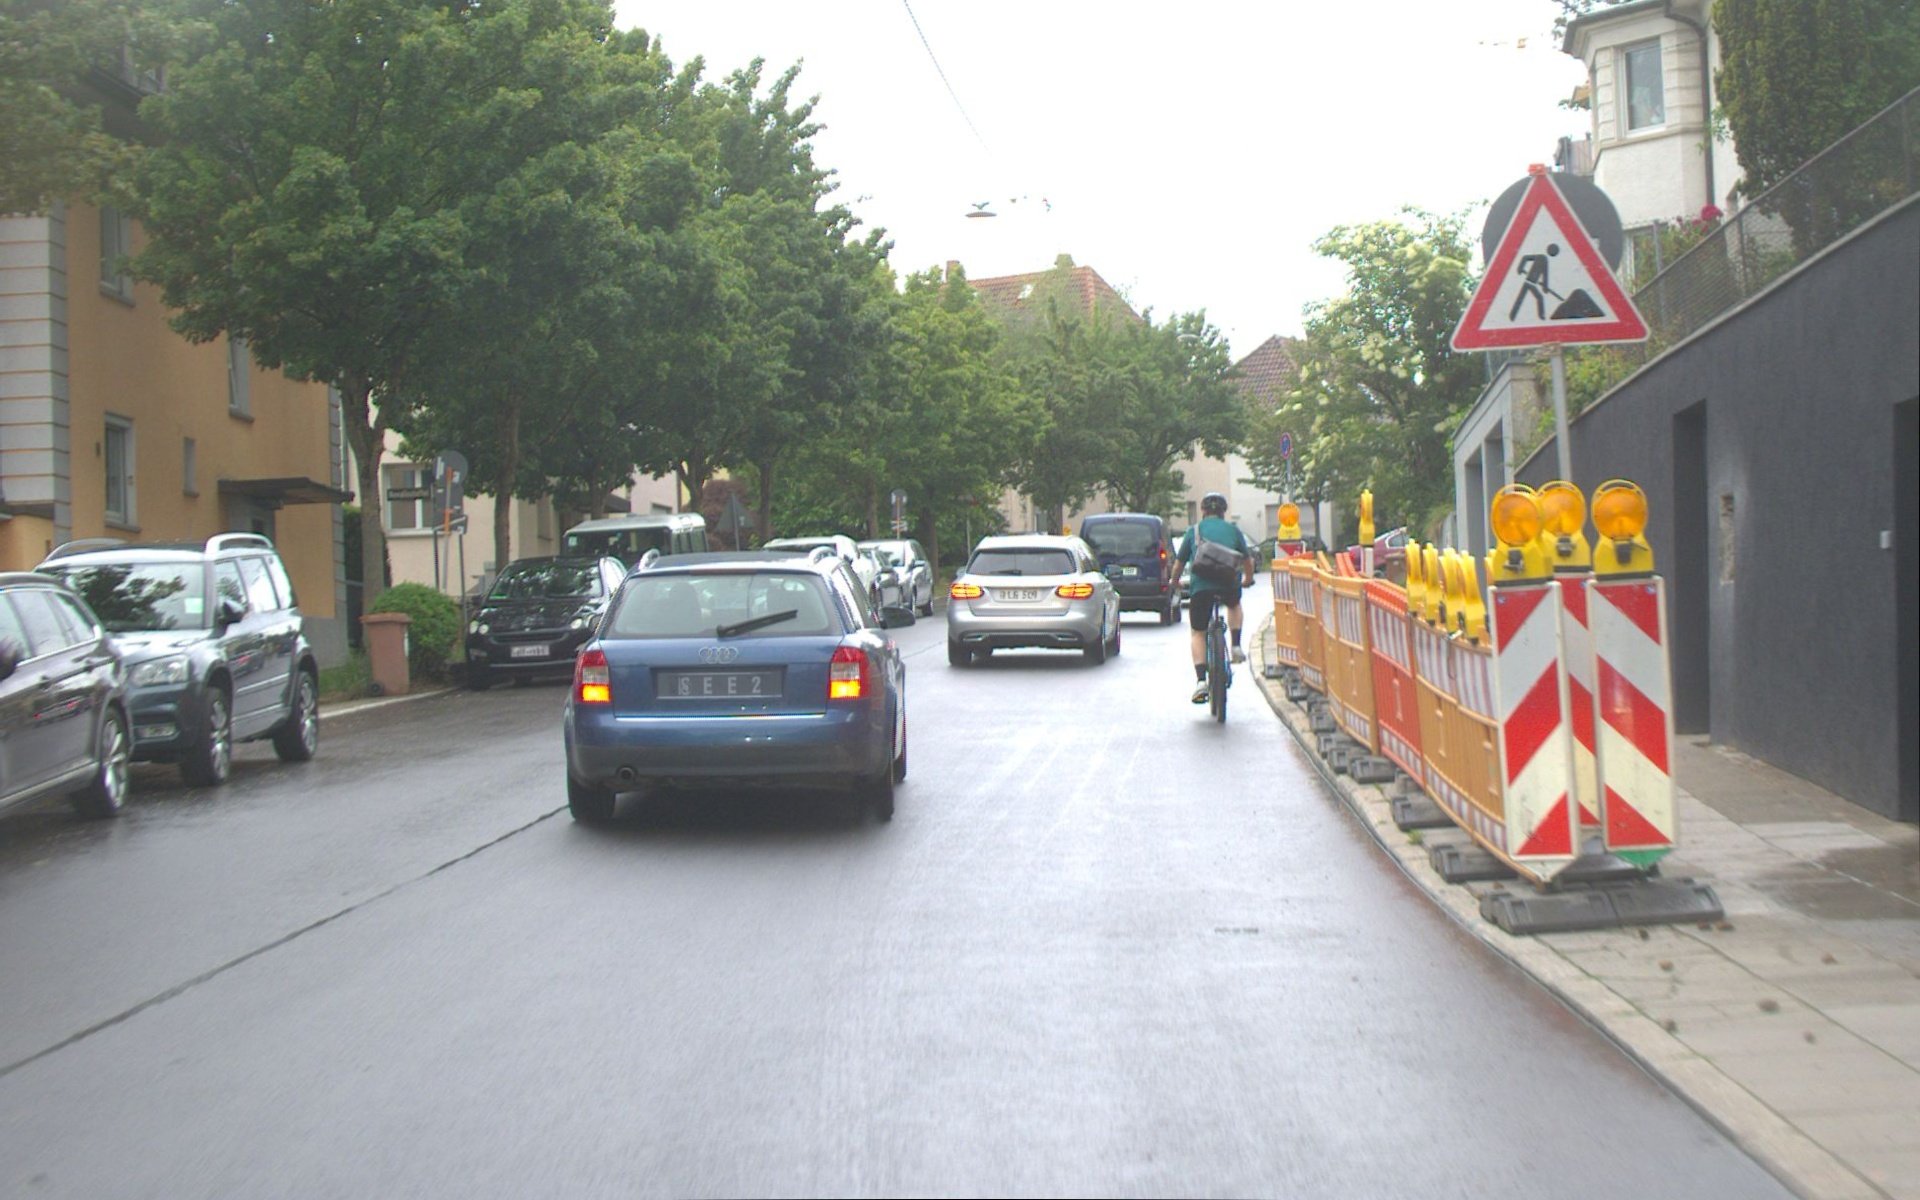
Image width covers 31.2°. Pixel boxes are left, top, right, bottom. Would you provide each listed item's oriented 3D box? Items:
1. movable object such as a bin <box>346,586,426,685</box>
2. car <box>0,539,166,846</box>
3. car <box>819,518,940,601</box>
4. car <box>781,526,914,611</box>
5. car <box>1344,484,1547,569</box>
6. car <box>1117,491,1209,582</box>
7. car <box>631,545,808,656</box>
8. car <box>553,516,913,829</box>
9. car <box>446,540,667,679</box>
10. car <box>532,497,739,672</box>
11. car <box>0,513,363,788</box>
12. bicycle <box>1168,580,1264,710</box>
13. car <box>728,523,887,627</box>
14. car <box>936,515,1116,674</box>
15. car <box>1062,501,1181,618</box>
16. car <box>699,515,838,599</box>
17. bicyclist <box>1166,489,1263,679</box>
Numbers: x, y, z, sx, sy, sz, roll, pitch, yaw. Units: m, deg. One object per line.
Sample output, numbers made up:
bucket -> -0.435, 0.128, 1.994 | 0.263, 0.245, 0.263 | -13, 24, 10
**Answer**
movable object such as a bin -> -6.402, 0.393, 38.335 | 0.682, 1.008, 0.708 | -6, 1, -1
car -> -5.775, 0.505, 18.560 | 1.768, 1.530, 4.605 | -3, 1, 1
car -> -1.593, -0.826, 69.608 | 1.768, 1.534, 4.006 | -3, 0, 8
car -> -2.073, -0.605, 64.433 | 1.768, 1.468, 4.006 | -3, 1, 8
car -> 10.049, -1.522, 71.082 | 3.989, 1.461, 1.738 | -3, 2, 12
car -> 4.285, -1.357, 72.046 | 1.734, 1.762, 4.235 | 1, 3, 6
car -> -3.602, -0.025, 52.229 | 1.768, 1.382, 4.633 | -3, 2, 7
car -> -1.173, 0.317, 19.318 | 1.733, 1.461, 4.001 | 0, 3, 0
car -> -4.680, 0.075, 40.476 | 1.768, 1.431, 4.347 | -3, 1, 4
car -> -4.263, -0.267, 45.948 | 1.792, 2.042, 4.781 | -5, 2, 5
car -> -5.614, 0.291, 24.058 | 1.768, 1.628, 4.109 | -5, 1, 4
bicycle -> 2.042, 0.344, 27.415 | 0.730, 0.961, 1.670 | -1, 1, 5
car -> -2.573, -0.456, 59.038 | 1.769, 1.621, 4.688 | -3, 0, 9
car -> 0.804, -0.112, 39.955 | 1.975, 1.629, 4.235 | 0, 3, 2
car -> 2.719, -0.708, 57.175 | 1.734, 1.762, 4.235 | 1, 3, 6
car -> -5.060, -1.139, 90.976 | 3.211, 1.734, 1.479 | -8, 2, 9
bicyclist -> 2.028, -0.135, 27.355 | 0.725, 1.467, 0.886 | -1, 1, 5
